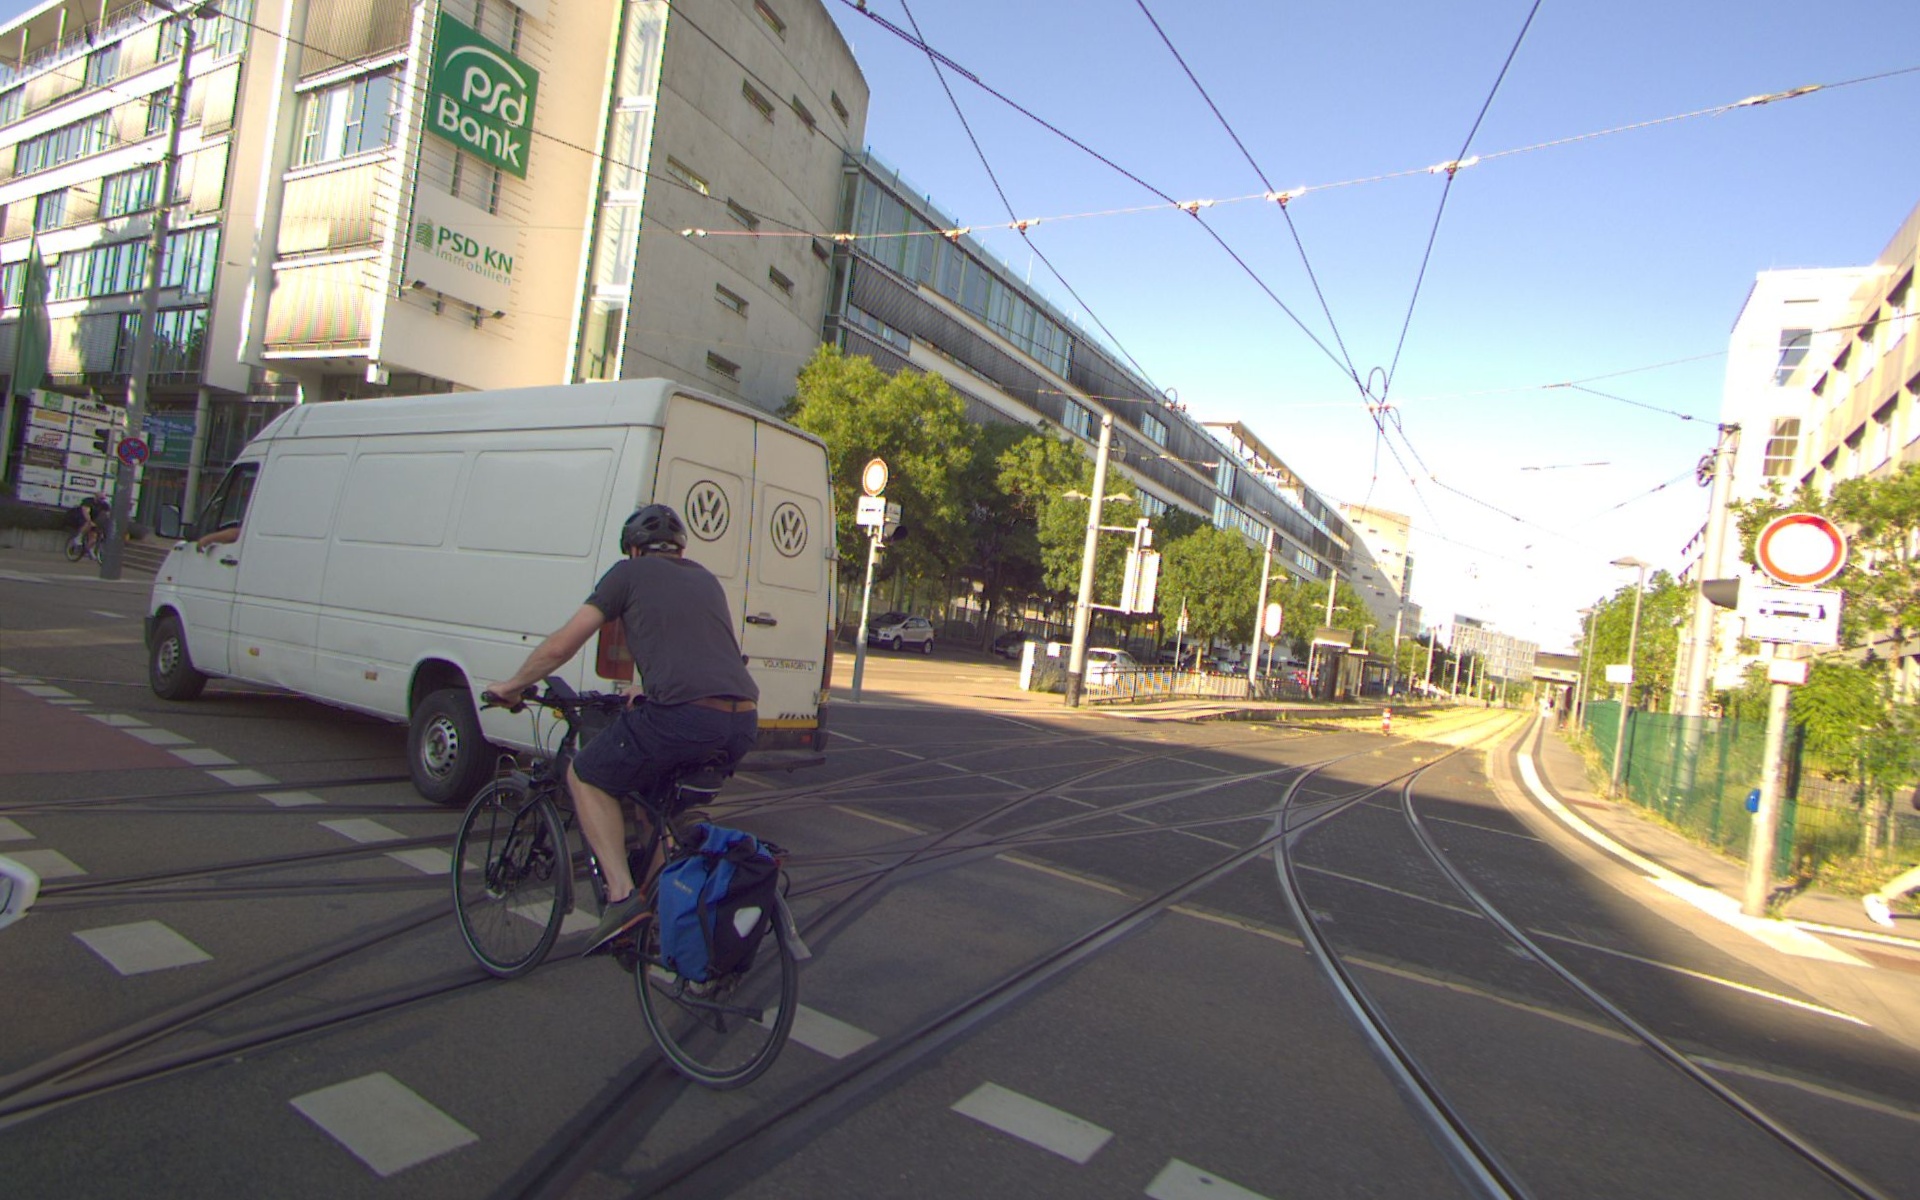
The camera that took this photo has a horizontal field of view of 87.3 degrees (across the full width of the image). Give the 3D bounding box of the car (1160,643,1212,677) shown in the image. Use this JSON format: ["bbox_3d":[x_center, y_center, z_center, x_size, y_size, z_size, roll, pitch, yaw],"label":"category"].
[{"bbox_3d":[14.431,3.832,64.119,1.954,1.716,3.994,9,0,30],"label":"car"}]

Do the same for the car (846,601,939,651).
[{"bbox_3d":[-2.893,1.170,43.714,1.954,1.716,3.994,8,-1,30],"label":"car"}]

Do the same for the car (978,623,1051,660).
[{"bbox_3d":[2.940,2.237,53.616,1.954,1.512,4.396,8,-1,30],"label":"car"}]

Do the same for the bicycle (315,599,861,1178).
[{"bbox_3d":[-1.344,0.767,3.402,1.935,1.296,0.650,7,0,37],"label":"bicycle"}]

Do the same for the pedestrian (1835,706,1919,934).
[{"bbox_3d":[8.381,1.902,8.533,0.725,1.834,1.080,7,-1,-12],"label":"pedestrian"}]

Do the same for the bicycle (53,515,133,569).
[{"bbox_3d":[-21.019,-1.409,24.381,1.718,1.113,0.697,7,3,21],"label":"bicycle"}]

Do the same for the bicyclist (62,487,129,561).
[{"bbox_3d":[-20.915,-1.832,24.335,1.069,1.624,0.723,7,2,21],"label":"bicyclist"}]

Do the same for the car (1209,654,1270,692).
[{"bbox_3d":[14.651,3.864,52.653,1.966,1.620,3.995,7,-1,31],"label":"car"}]

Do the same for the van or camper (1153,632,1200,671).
[{"bbox_3d":[16.507,3.951,76.677,1.954,2.534,4.396,8,-1,30],"label":"van or camper"}]

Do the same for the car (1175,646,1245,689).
[{"bbox_3d":[11.822,3.218,47.377,1.966,1.620,3.995,7,-1,31],"label":"car"}]

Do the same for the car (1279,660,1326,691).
[{"bbox_3d":[22.226,4.894,65.165,1.966,1.620,3.995,7,-1,31],"label":"car"}]

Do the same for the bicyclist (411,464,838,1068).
[{"bbox_3d":[-1.112,0.436,3.295,1.072,1.622,0.650,7,0,36],"label":"bicyclist"}]

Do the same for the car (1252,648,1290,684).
[{"bbox_3d":[28.074,5.958,90.831,2.020,2.704,5.017,7,-2,29],"label":"car"}]

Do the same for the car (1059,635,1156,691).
[{"bbox_3d":[5.414,2.318,36.491,1.966,1.631,3.995,7,-1,31],"label":"car"}]

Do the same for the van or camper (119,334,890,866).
[{"bbox_3d":[-3.771,-0.230,7.644,6.201,2.747,1.972,7,-1,32],"label":"van or camper"}]
